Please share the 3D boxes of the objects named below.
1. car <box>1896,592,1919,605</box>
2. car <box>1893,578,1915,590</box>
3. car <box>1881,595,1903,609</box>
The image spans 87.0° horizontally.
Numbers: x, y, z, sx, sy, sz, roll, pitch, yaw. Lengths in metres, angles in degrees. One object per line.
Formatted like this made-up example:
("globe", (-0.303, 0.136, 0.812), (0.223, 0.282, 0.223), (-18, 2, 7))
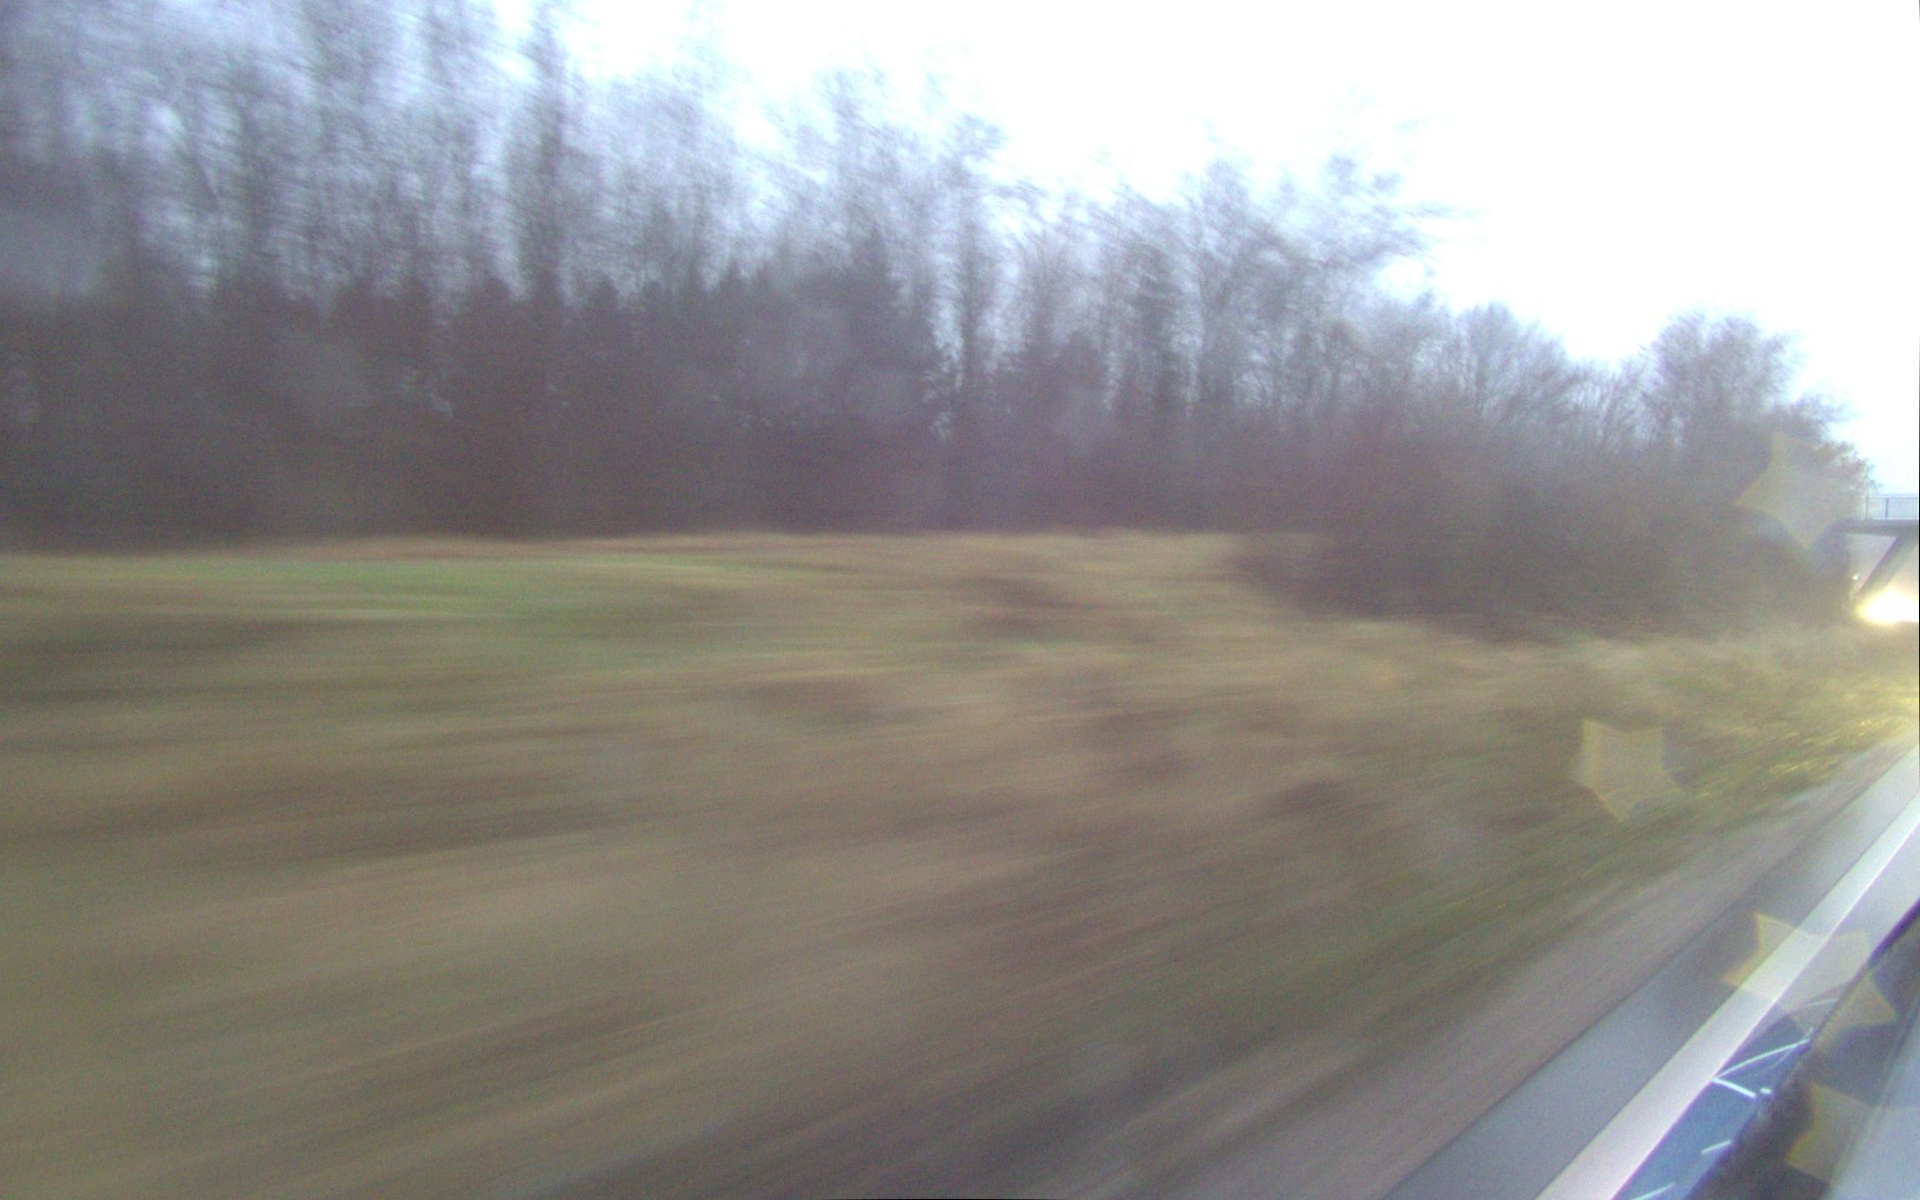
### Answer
("car", (125.269, -0.235, 133.761), (1.856, 1.667, 4.408), (1, 2, 38))
("car", (137.820, -2.379, 147.766), (1.899, 1.669, 4.662), (1, 1, 38))
("car", (114.063, 0.187, 123.853), (1.710, 1.647, 4.157), (1, 1, 40))
